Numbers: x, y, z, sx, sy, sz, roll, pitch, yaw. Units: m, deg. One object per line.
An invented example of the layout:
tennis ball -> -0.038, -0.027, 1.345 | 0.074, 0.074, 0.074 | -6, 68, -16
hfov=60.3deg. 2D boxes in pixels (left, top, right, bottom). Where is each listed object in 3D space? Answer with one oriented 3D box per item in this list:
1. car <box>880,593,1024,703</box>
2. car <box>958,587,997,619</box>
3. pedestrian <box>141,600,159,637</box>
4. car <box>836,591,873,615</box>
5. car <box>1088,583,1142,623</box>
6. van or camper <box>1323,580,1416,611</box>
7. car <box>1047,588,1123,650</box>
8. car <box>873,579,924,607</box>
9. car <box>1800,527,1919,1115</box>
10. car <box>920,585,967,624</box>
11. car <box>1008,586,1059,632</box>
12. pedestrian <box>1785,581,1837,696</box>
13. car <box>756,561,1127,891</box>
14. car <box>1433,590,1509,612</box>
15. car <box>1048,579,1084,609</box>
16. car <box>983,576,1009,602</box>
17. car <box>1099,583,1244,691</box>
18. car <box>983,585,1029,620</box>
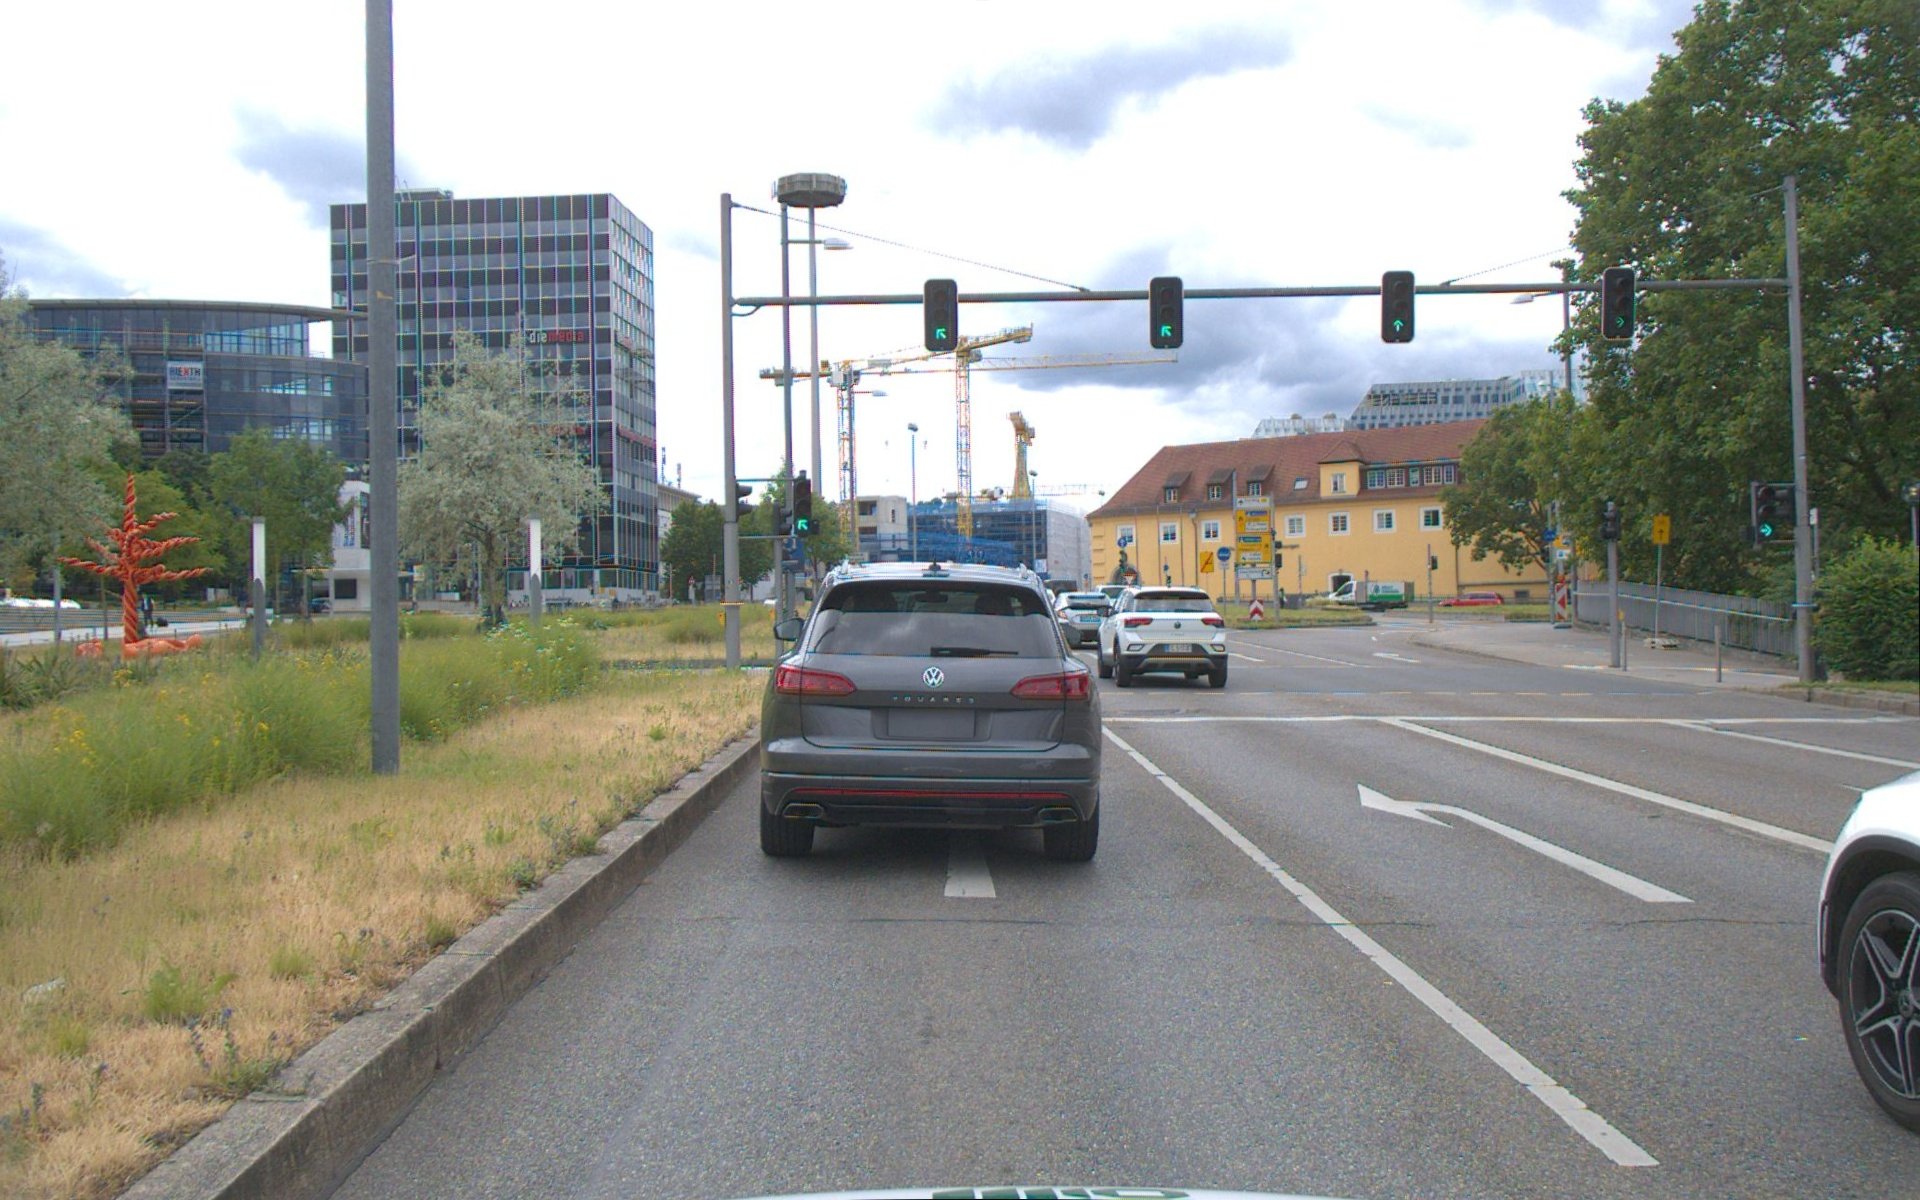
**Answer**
car -> -0.133, 0.646, 24.506 | 1.953, 1.411, 4.000 | -1, 1, -1
car -> 0.964, 0.186, 93.367 | 2.096, 1.758, 4.069 | -1, 0, -1
pedestrian -> -36.644, 0.849, 74.830 | 0.513, 1.678, 0.650 | 0, 0, -2
car -> -6.711, 0.174, 104.813 | 1.689, 1.529, 3.967 | 0, 0, -14
car -> 6.063, 0.088, 65.075 | 1.766, 1.529, 3.981 | 0, 1, 0
van or camper -> 28.228, -0.322, 114.008 | 5.902, 2.049, 2.012 | -1, 0, 35
car -> 3.211, 0.455, 43.081 | 1.683, 1.529, 4.144 | 0, 1, 0
car -> -3.506, -0.392, 93.515 | 2.204, 1.529, 4.599 | 0, 1, -11
car -> 3.633, 0.642, 3.193 | 1.782, 1.676, 4.378 | 0, 1, 0
car -> -0.721, 0.157, 68.072 | 1.778, 1.522, 3.904 | 0, 1, -3
car -> 2.520, 0.285, 56.788 | 1.683, 1.529, 3.983 | 0, 1, 3
pedestrian -> 13.430, 0.600, 26.109 | 0.469, 1.794, 0.620 | 0, 0, -4
car -> -0.117, 0.622, 10.481 | 1.893, 1.676, 4.000 | 0, 1, -1
car -> 33.995, 0.051, 110.125 | 4.592, 1.445, 1.593 | -1, 0, 31
car -> 5.654, -0.335, 88.602 | 1.683, 1.529, 3.981 | 0, 1, 0
car -> 2.874, -0.881, 134.201 | 1.953, 2.049, 4.000 | 0, 1, -1
car -> 3.367, 0.544, 26.957 | 1.855, 1.613, 3.800 | 0, 1, -1
car -> 2.048, 0.106, 74.054 | 1.778, 1.522, 3.904 | 0, 0, -3
